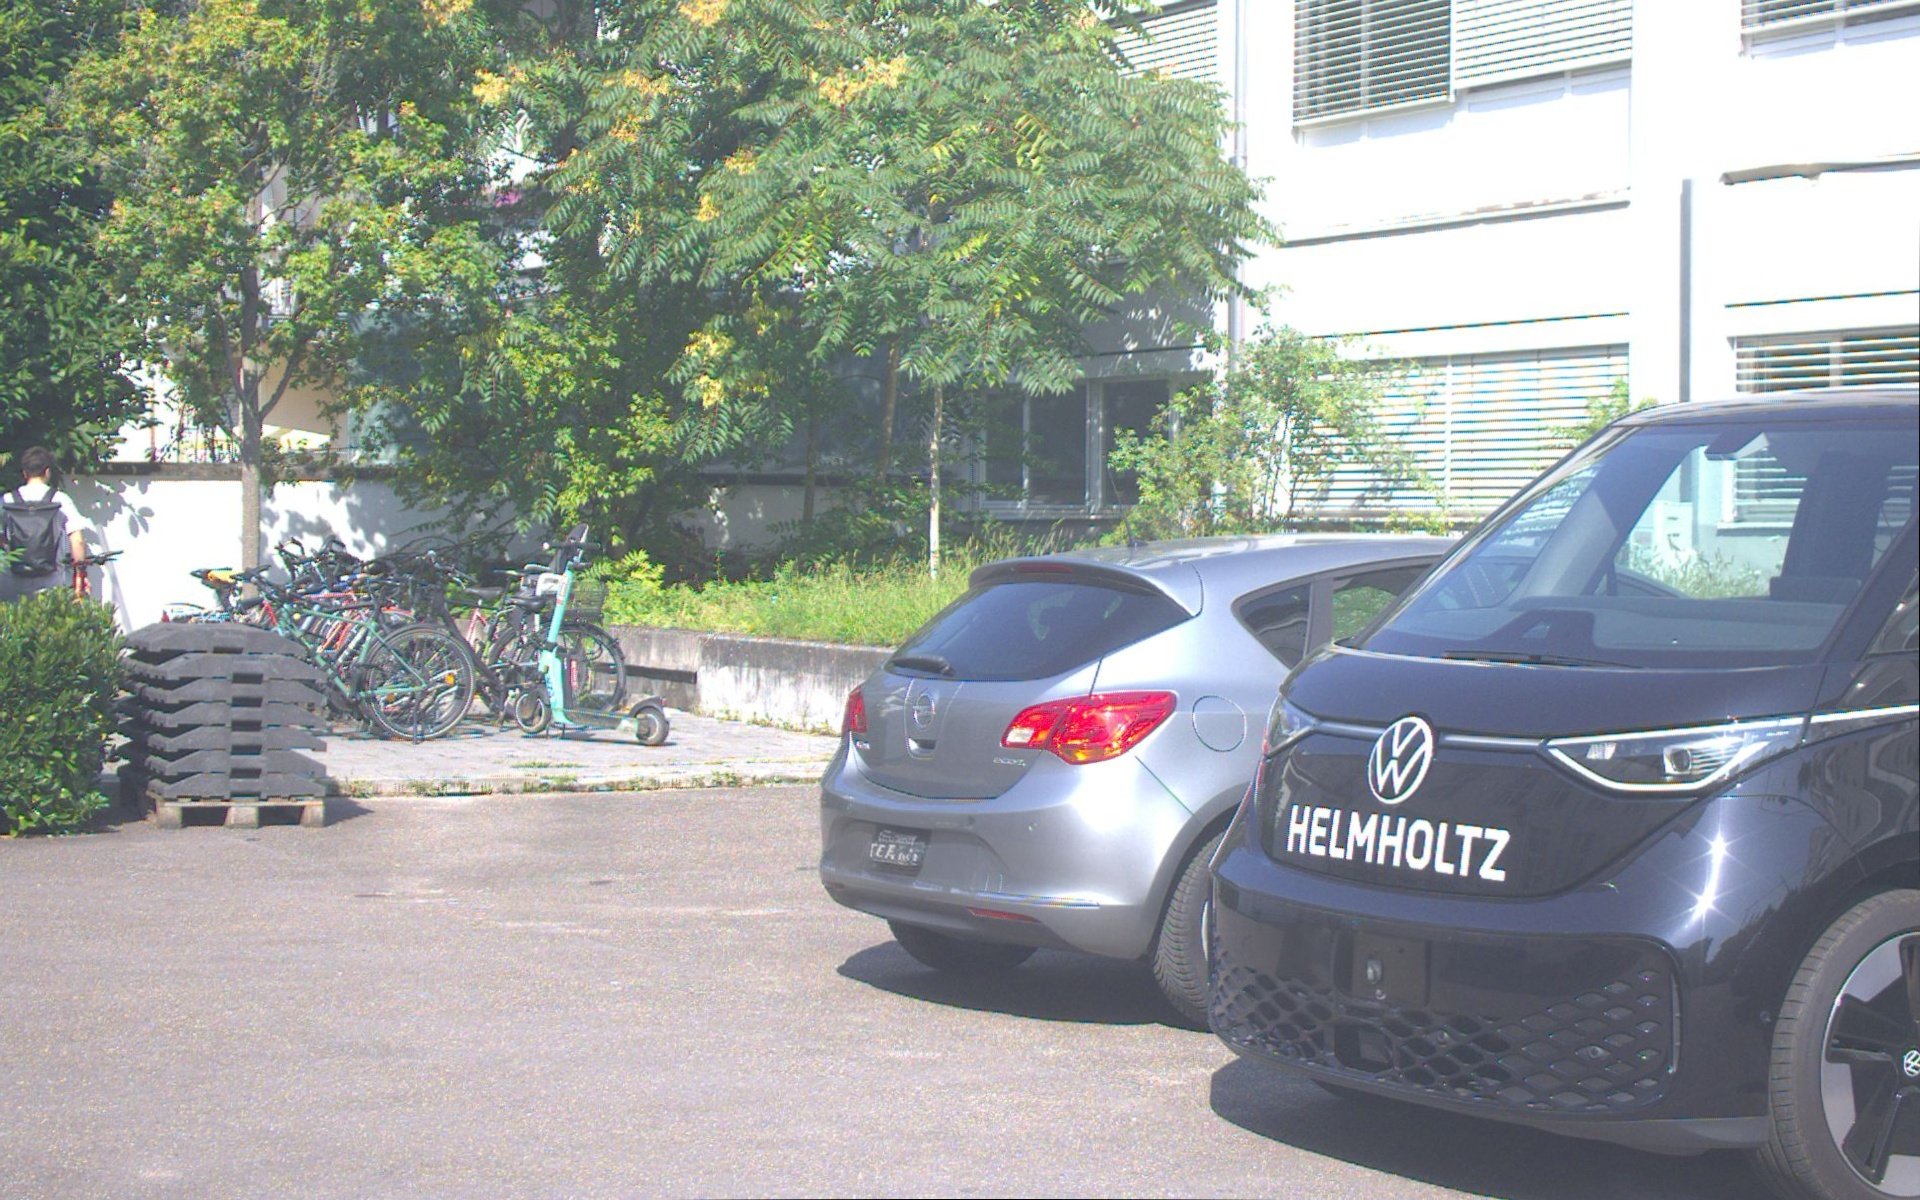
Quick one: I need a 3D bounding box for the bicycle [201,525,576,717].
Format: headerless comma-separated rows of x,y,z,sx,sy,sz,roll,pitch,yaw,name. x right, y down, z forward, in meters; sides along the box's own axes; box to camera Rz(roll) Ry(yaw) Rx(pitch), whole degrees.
-3.835,0.148,23.131,2.410,1.242,0.526,1,1,-22,bicycle

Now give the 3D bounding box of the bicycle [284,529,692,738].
-2.901,0.214,21.208,2.410,1.242,0.526,1,1,-22,bicycle

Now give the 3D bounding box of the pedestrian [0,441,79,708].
-6.407,-0.175,23.076,0.858,1.765,0.611,1,1,-21,pedestrian

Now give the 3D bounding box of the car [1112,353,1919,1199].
2.730,0.378,8.836,4.335,1.852,1.915,-1,2,-32,car

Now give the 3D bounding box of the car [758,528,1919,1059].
1.427,0.505,11.423,3.897,1.461,1.663,-1,2,-35,car

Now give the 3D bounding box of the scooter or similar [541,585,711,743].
-2.052,0.386,21.090,0.998,0.921,0.360,2,1,30,scooter or similar

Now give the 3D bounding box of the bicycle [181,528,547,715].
-4.105,0.155,23.752,2.410,1.242,0.526,1,1,-22,bicycle

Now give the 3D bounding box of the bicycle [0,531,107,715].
-6.131,0.129,23.112,0.488,1.139,1.994,-1,3,-22,bicycle

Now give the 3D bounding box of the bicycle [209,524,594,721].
-3.651,0.153,22.542,2.410,1.242,0.526,1,1,-22,bicycle

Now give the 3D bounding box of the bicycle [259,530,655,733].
-3.183,0.205,21.828,2.410,1.242,0.526,1,1,-22,bicycle
